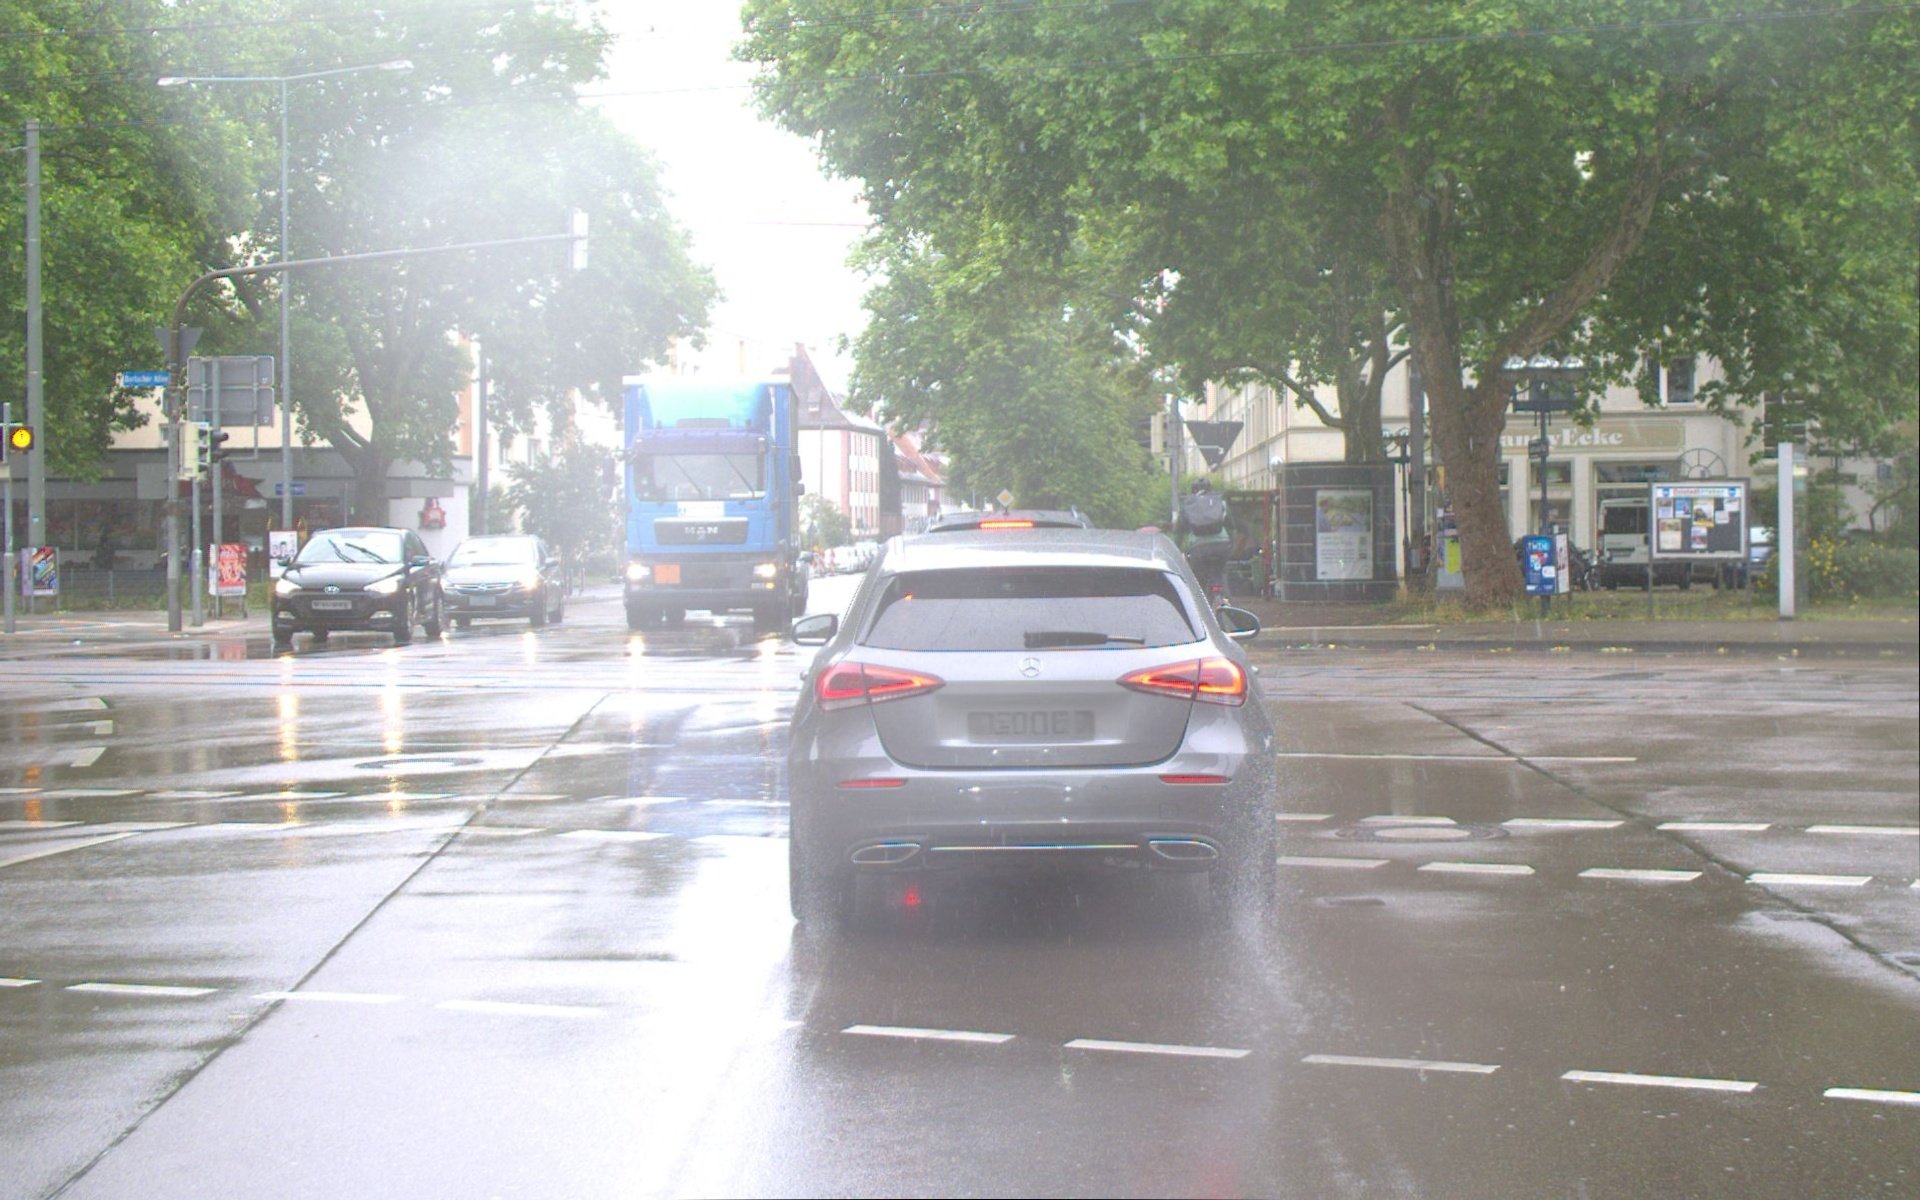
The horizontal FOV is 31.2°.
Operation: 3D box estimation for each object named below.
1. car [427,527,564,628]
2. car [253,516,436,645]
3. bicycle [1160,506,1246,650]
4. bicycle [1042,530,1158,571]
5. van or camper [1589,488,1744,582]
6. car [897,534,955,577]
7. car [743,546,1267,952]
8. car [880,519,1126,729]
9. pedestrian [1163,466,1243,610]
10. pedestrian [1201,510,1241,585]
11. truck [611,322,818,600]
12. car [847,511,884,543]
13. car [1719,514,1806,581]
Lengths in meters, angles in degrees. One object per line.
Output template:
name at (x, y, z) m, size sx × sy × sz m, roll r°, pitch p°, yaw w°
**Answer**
car at (-7.478, -0.389, 55.701) m, size 1.726 × 1.541 × 4.341 m, roll -1°, pitch 1°, yaw -2°
car at (-7.835, -0.274, 44.063) m, size 1.743 × 1.541 × 3.779 m, roll -1°, pitch 1°, yaw -2°
bicycle at (2.446, -0.241, 34.373) m, size 0.749 × 1.372 × 2.707 m, roll -1°, pitch 1°, yaw 6°
bicycle at (4.122, -1.451, 101.045) m, size 3.205 × 1.108 × 1.054 m, roll -1°, pitch -3°, yaw -19°
van or camper at (17.460, -1.592, 84.764) m, size 2.400 × 2.224 × 5.422 m, roll 0°, pitch 1°, yaw 26°
car at (-1.285, -1.659, 127.812) m, size 1.993 × 1.568 × 4.000 m, roll -1°, pitch 1°, yaw -2°
car at (0.111, 0.489, 13.611) m, size 1.791 × 1.368 × 3.507 m, roll 1°, pitch 1°, yaw -1°
car at (0.243, 0.120, 24.989) m, size 1.607 × 1.368 × 4.000 m, roll -1°, pitch 1°, yaw -1°
pedestrian at (2.437, -0.621, 34.412) m, size 0.744 × 1.393 × 1.047 m, roll -1°, pitch 1°, yaw 5°
pedestrian at (5.813, -1.163, 76.635) m, size 0.716 × 1.663 × 0.665 m, roll -1°, pitch 1°, yaw -14°
truck at (-3.812, -2.129, 55.540) m, size 2.845 × 4.011 × 10.317 m, roll -1°, pitch 1°, yaw -2°
car at (-5.568, -4.313, 203.261) m, size 1.890 × 1.830 × 4.000 m, roll -1°, pitch 1°, yaw 2°
car at (19.542, -1.257, 83.623) m, size 1.681 × 1.570 × 3.732 m, roll 0°, pitch 0°, yaw 19°
